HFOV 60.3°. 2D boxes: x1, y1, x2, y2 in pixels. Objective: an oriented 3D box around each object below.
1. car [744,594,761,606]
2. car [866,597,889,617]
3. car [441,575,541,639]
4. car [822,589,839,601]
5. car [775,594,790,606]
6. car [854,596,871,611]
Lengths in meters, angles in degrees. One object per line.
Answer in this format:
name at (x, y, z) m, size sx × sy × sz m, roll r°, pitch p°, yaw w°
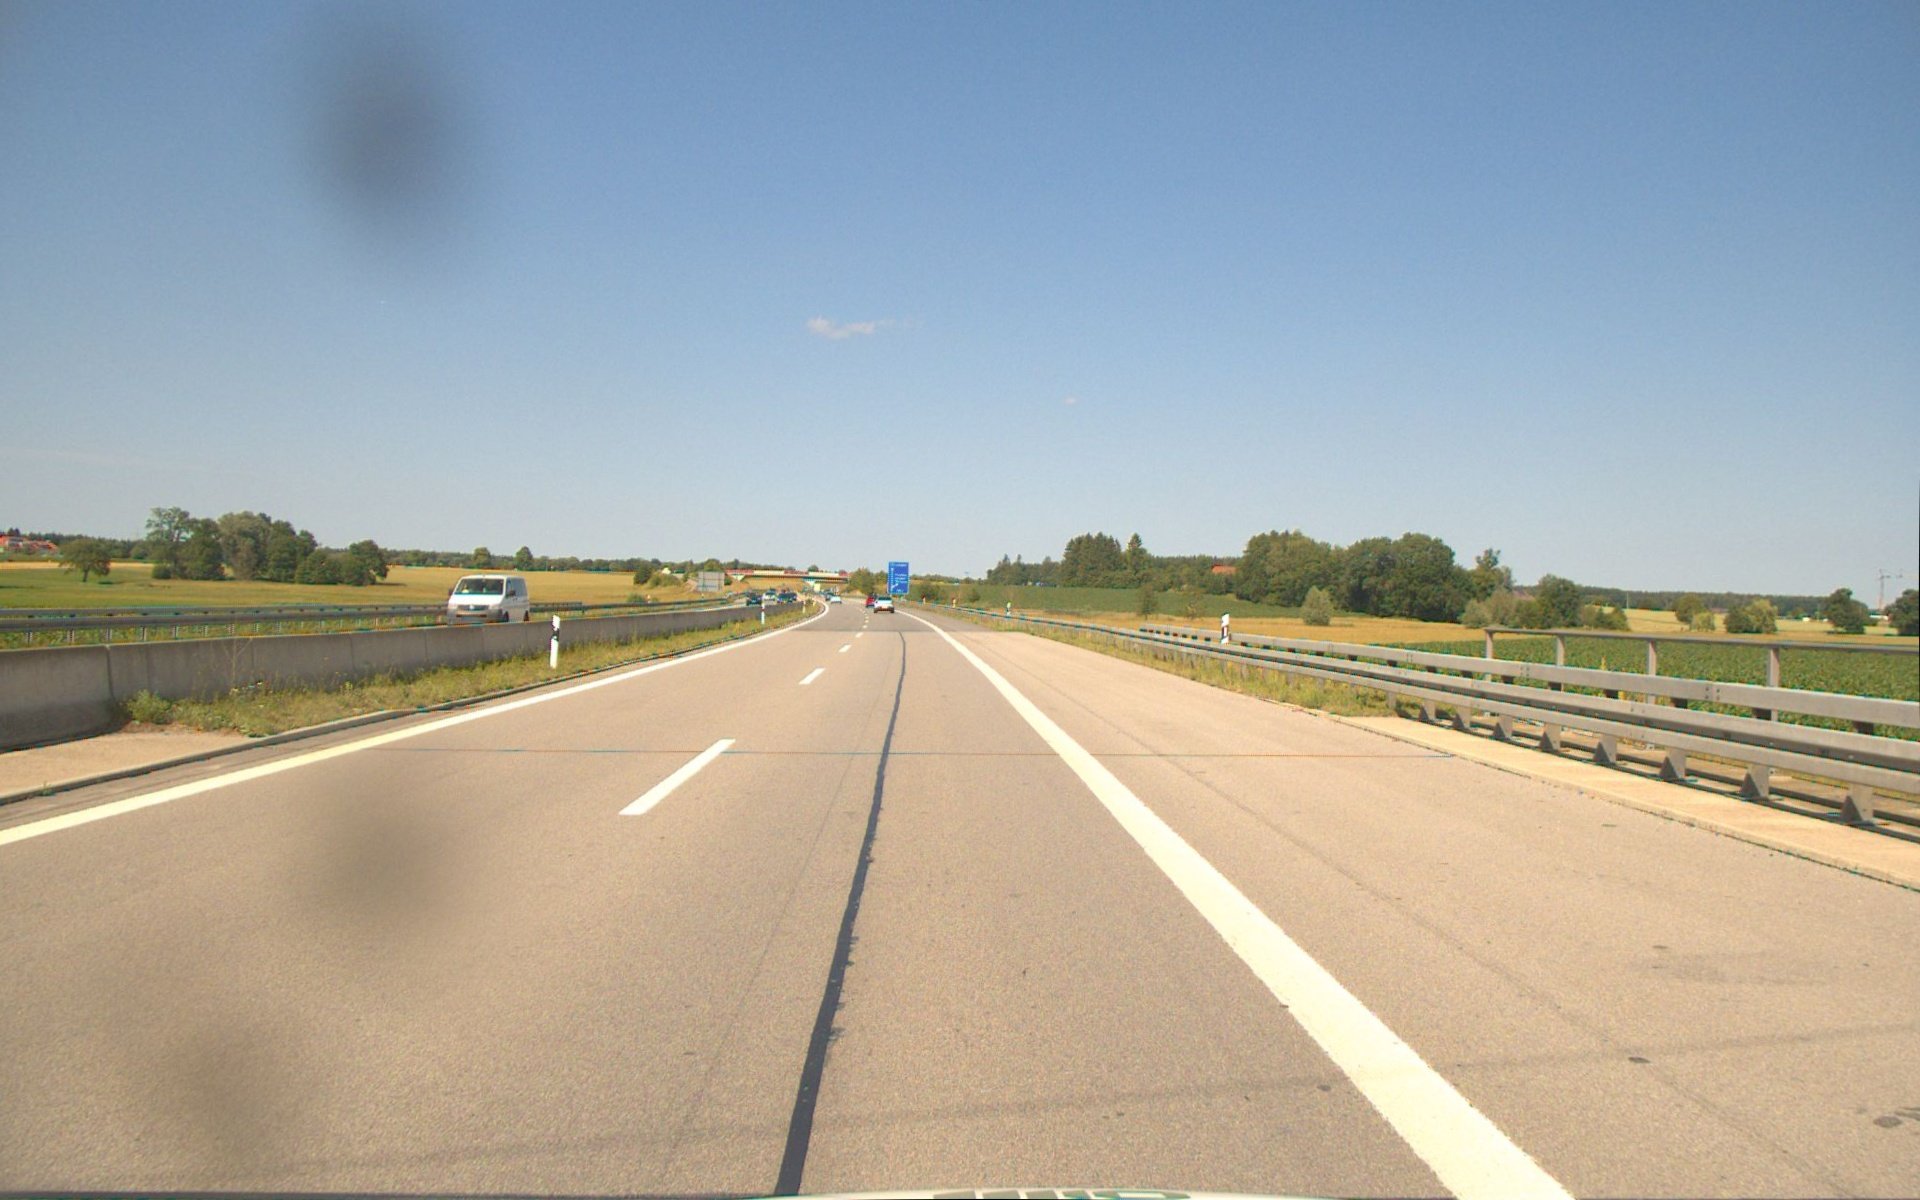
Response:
car at (-24.586, -0.049, 196.351) m, size 1.787 × 1.388 × 4.659 m, roll 0°, pitch 1°, yaw -5°
car at (-7.566, 0.630, 150.835) m, size 1.954 × 1.761 × 4.865 m, roll 1°, pitch 0°, yaw -4°
car at (-15.919, 0.238, 56.462) m, size 1.953 × 2.049 × 5.611 m, roll 1°, pitch 0°, yaw -2°
car at (-19.864, -0.701, 253.087) m, size 1.959 × 1.761 × 4.853 m, roll 1°, pitch 0°, yaw -13°
car at (-21.761, -0.006, 202.877) m, size 1.788 × 1.388 × 5.191 m, roll 0°, pitch 1°, yaw -6°
car at (-11.858, 0.423, 201.142) m, size 1.955 × 1.761 × 4.864 m, roll 1°, pitch 0°, yaw -5°
